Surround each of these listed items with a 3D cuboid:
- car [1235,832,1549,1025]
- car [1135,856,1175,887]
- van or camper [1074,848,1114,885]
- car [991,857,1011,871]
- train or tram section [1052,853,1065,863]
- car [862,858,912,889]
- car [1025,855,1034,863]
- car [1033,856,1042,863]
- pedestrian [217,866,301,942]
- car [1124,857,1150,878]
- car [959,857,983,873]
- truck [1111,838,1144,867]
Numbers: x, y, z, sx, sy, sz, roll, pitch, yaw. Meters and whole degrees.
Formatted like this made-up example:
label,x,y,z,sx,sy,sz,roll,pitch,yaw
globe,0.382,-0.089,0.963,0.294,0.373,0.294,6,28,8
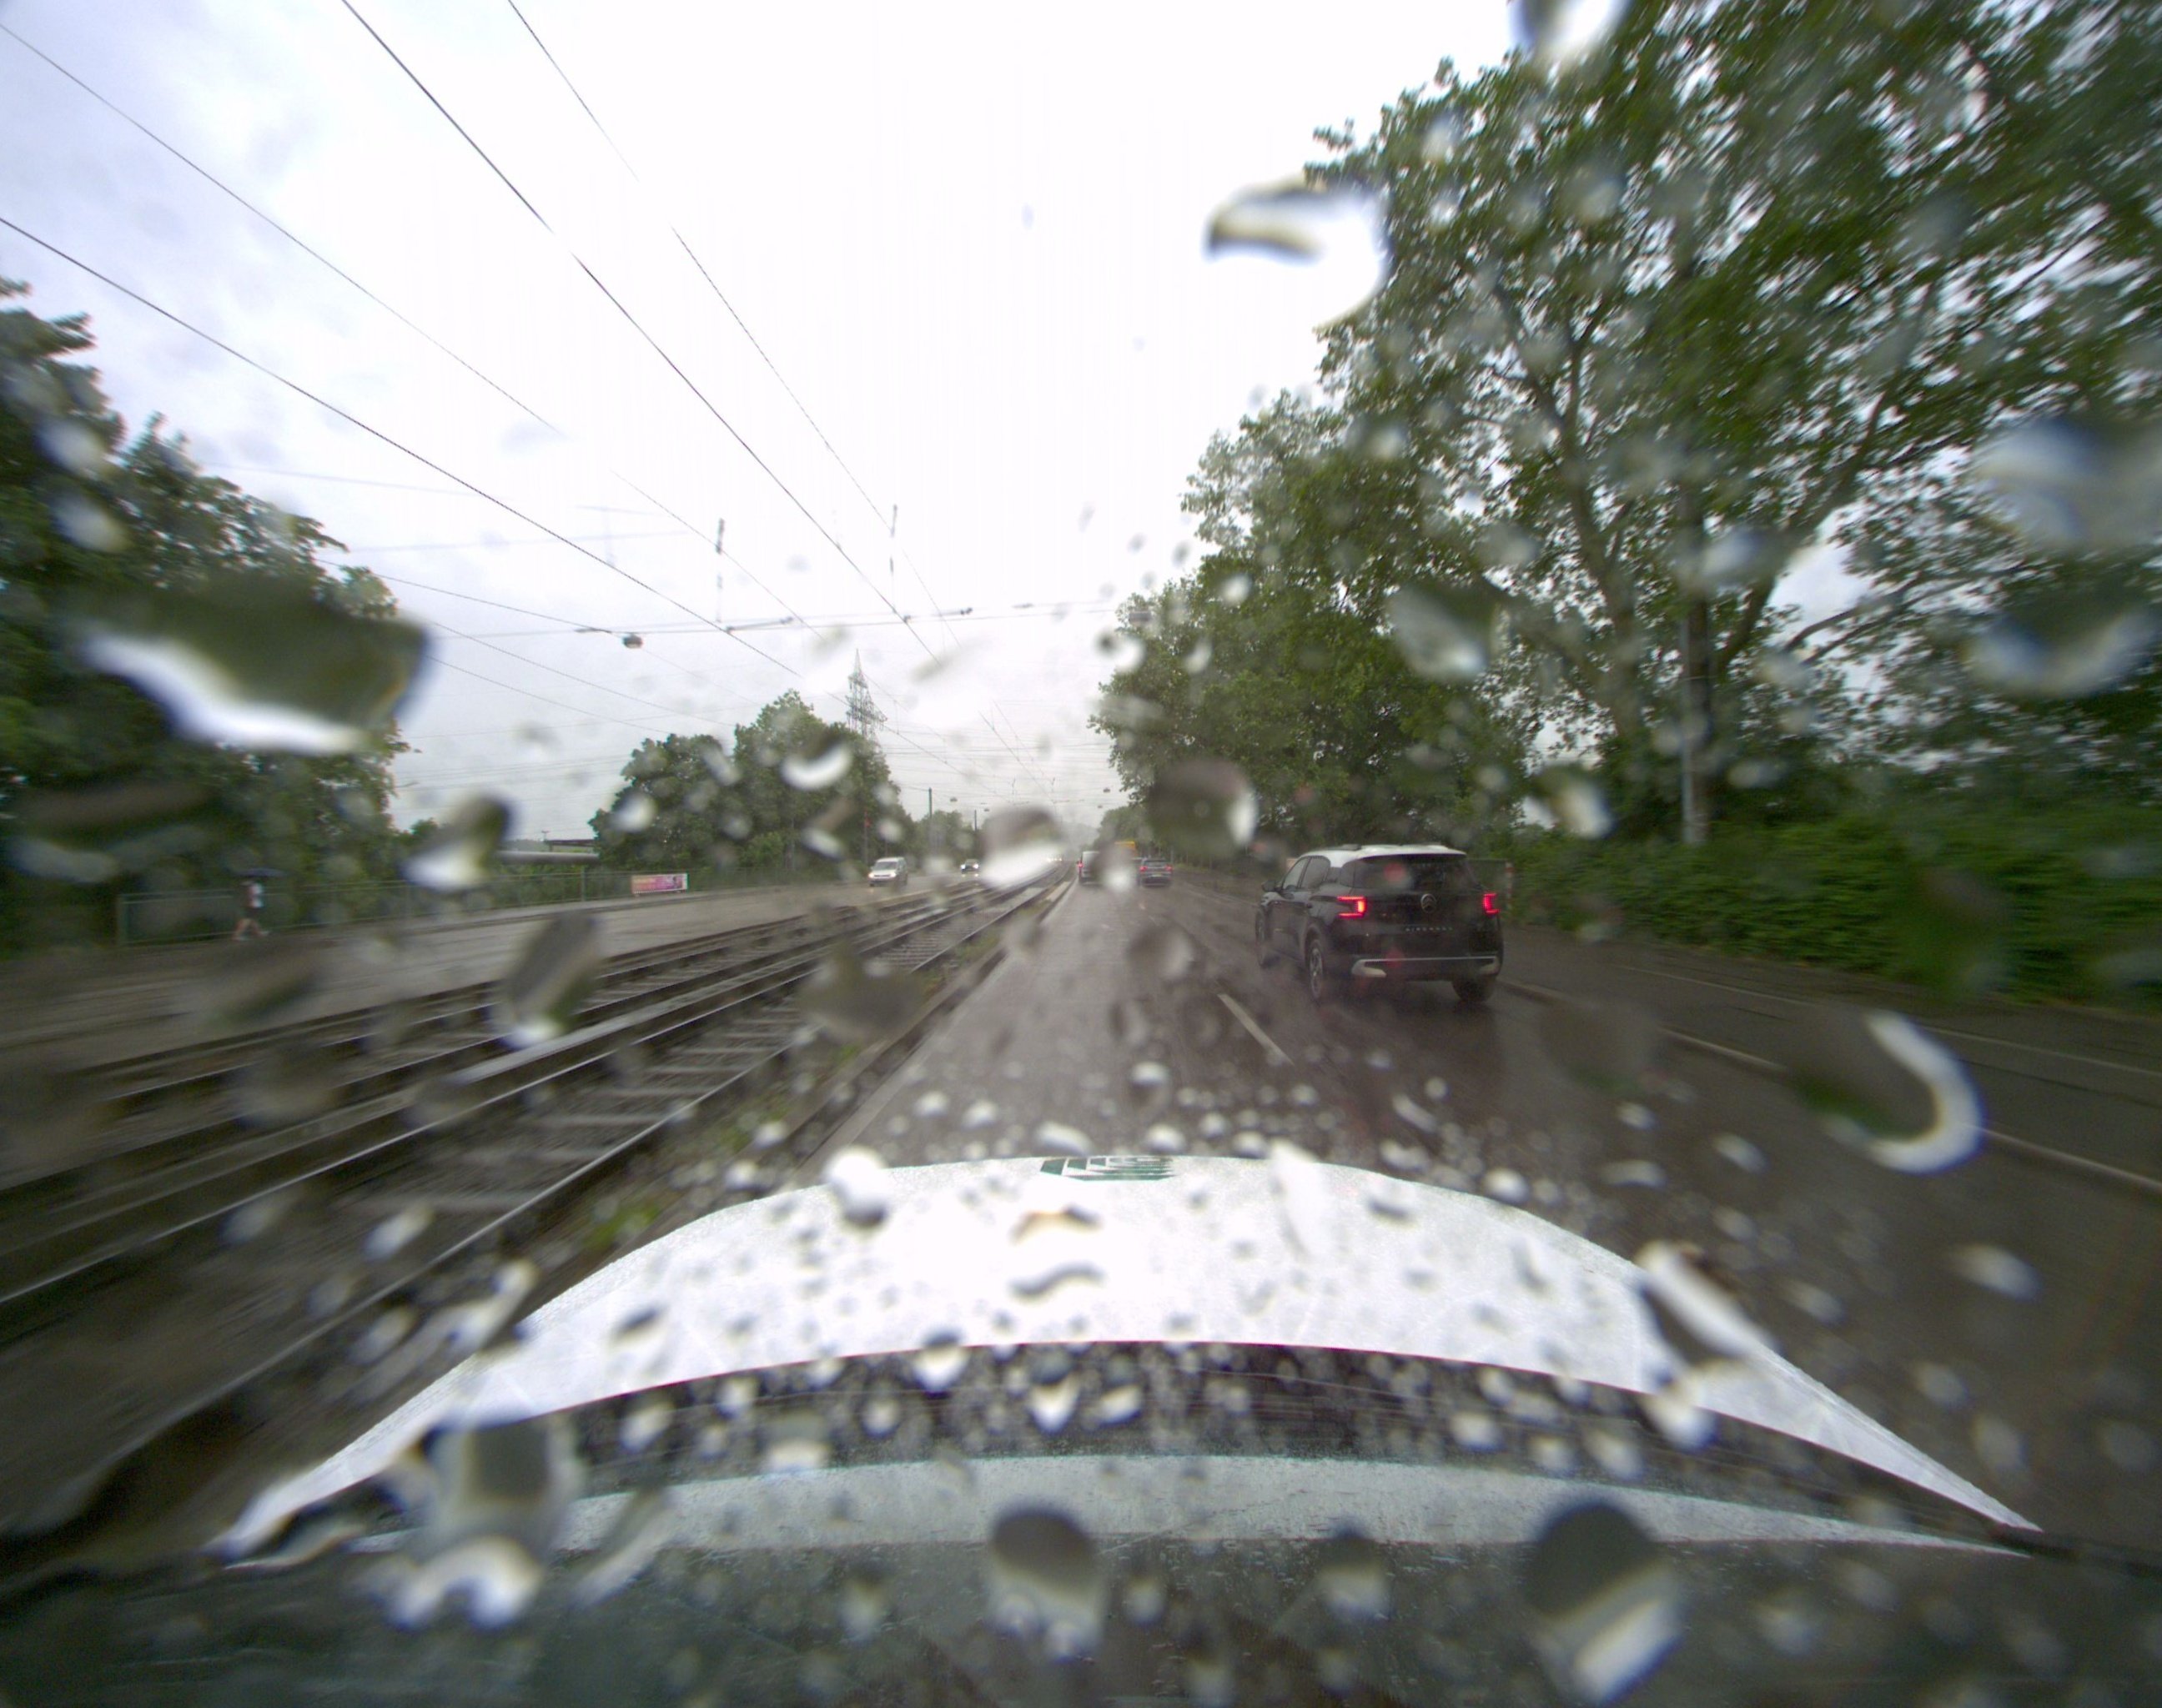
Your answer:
label,x,y,z,sx,sy,sz,roll,pitch,yaw
car,3.221,0.624,9.614,1.893,1.716,4.725,0,1,0
car,3.686,0.860,41.059,1.811,1.414,3.780,0,1,2
van or camper,0.634,0.617,43.492,1.988,1.784,3.998,0,1,-1
car,-9.077,1.133,92.361,1.650,1.486,4.015,-1,0,2
train or tram section,-6.711,1.199,242.142,2.839,2.894,14.011,-2,0,2
car,-12.474,1.206,52.700,1.987,1.816,4.659,-1,0,1
car,-12.752,1.326,202.002,1.985,1.903,4.003,0,0,2
car,-11.919,1.504,223.114,1.985,1.903,4.003,0,0,2
pedestrian,-20.009,1.193,19.845,0.848,1.759,1.121,-2,0,1
car,4.162,0.982,60.842,1.811,1.414,3.780,0,1,2
car,-12.656,1.247,93.958,1.986,1.816,4.003,-1,0,2
truck,4.657,-0.143,83.160,3.102,2.773,6.330,-1,0,1
